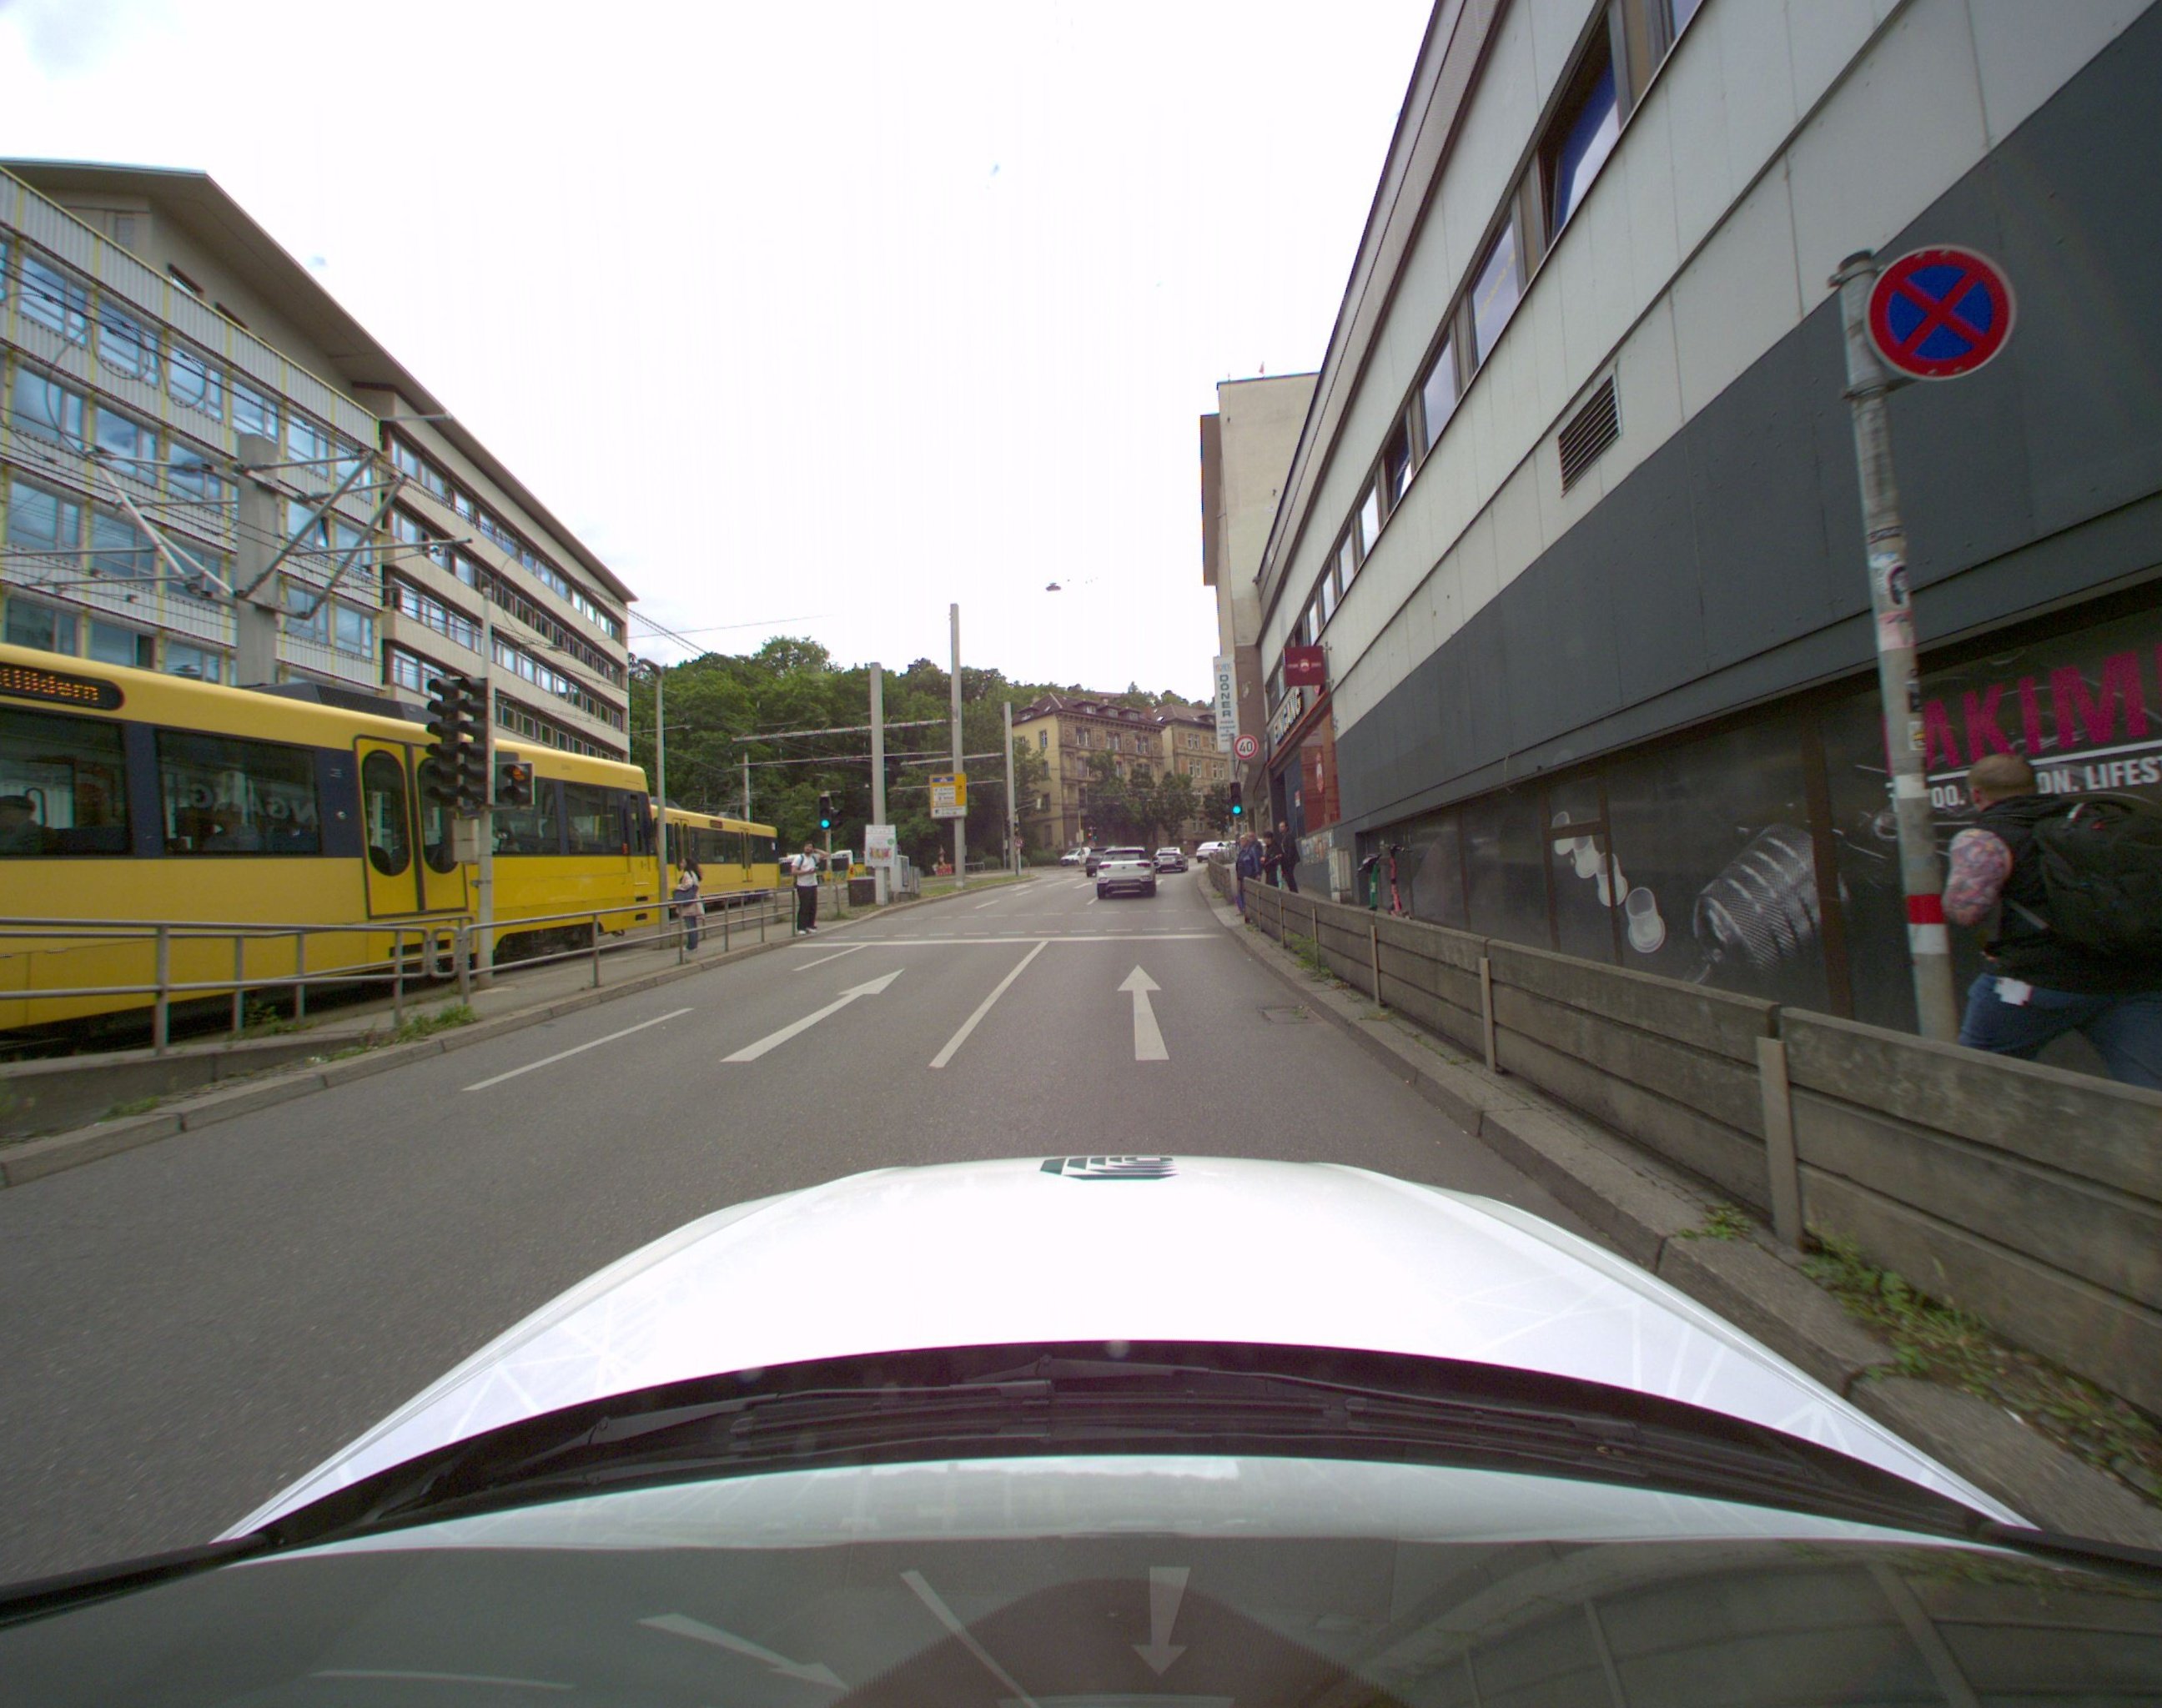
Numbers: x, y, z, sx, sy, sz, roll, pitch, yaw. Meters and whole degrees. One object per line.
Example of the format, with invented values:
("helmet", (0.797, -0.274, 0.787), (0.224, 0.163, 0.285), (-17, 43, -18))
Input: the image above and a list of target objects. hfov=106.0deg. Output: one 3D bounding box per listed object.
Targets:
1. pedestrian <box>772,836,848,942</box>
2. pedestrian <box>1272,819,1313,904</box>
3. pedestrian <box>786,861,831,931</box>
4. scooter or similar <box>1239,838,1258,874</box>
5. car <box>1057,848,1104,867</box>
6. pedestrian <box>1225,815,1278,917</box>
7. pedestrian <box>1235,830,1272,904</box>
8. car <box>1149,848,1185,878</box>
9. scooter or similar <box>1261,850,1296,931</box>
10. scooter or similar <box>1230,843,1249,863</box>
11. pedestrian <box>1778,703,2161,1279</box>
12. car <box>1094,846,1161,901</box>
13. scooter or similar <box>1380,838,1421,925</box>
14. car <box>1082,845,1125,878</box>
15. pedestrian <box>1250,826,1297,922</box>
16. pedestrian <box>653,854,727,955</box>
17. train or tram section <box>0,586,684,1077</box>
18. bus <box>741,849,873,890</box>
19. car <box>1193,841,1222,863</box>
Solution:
("pedestrian", (-5.615, 0.731, 16.892), (0.957, 2.067, 1.037), (-5, -4, 21))
("pedestrian", (4.657, 0.161, 17.974), (0.723, 1.808, 0.655), (-2, 0, 5))
("pedestrian", (-5.980, 0.928, 17.865), (0.571, 1.464, 0.679), (-5, -4, 21))
("scooter or similar", (7.100, 0.077, 34.488), (0.664, 1.475, 1.181), (-3, 0, 9))
("car", (-0.021, 0.331, 84.871), (1.975, 1.850, 5.023), (-3, -1, 43))
("pedestrian", (3.562, 0.242, 17.067), (0.942, 2.062, 0.780), (-2, 0, 5))
("pedestrian", (4.105, 0.305, 19.386), (0.559, 1.651, 0.592), (-9, -1, 5))
("car", (4.891, 0.474, 46.251), (1.893, 1.574, 3.841), (-2, 0, 6))
("scooter or similar", (3.223, 0.581, 13.337), (0.352, 1.276, 0.814), (-3, 0, 4))
("scooter or similar", (9.764, -0.061, 50.178), (1.012, 1.182, 0.374), (-3, 0, -22))
("pedestrian", (3.308, 0.426, 2.978), (0.717, 1.786, 0.884), (-2, -1, 3))
("car", (1.476, 0.586, 26.256), (1.930, 1.566, 4.049), (-2, 0, 3))
("scooter or similar", (4.891, 0.402, 12.514), (0.424, 1.276, 0.984), (-3, 0, 16))
("car", (1.330, 0.385, 46.122), (1.828, 1.739, 4.011), (-2, 1, 10))
("pedestrian", (3.697, 0.377, 15.690), (0.734, 1.793, 0.656), (-2, 0, 5))
("pedestrian", (-6.633, 0.829, 13.875), (0.673, 1.625, 1.001), (-3, -1, 1))
("train or tram section", (-9.439, -0.092, 8.802), (2.872, 3.663, 14.476), (-3, 0, 1))
("bus", (-25.247, 1.420, 75.058), (11.425, 3.029, 3.404), (-4, 0, 15))
("car", (9.738, -0.148, 62.446), (1.925, 1.506, 3.818), (-3, 0, 12))
